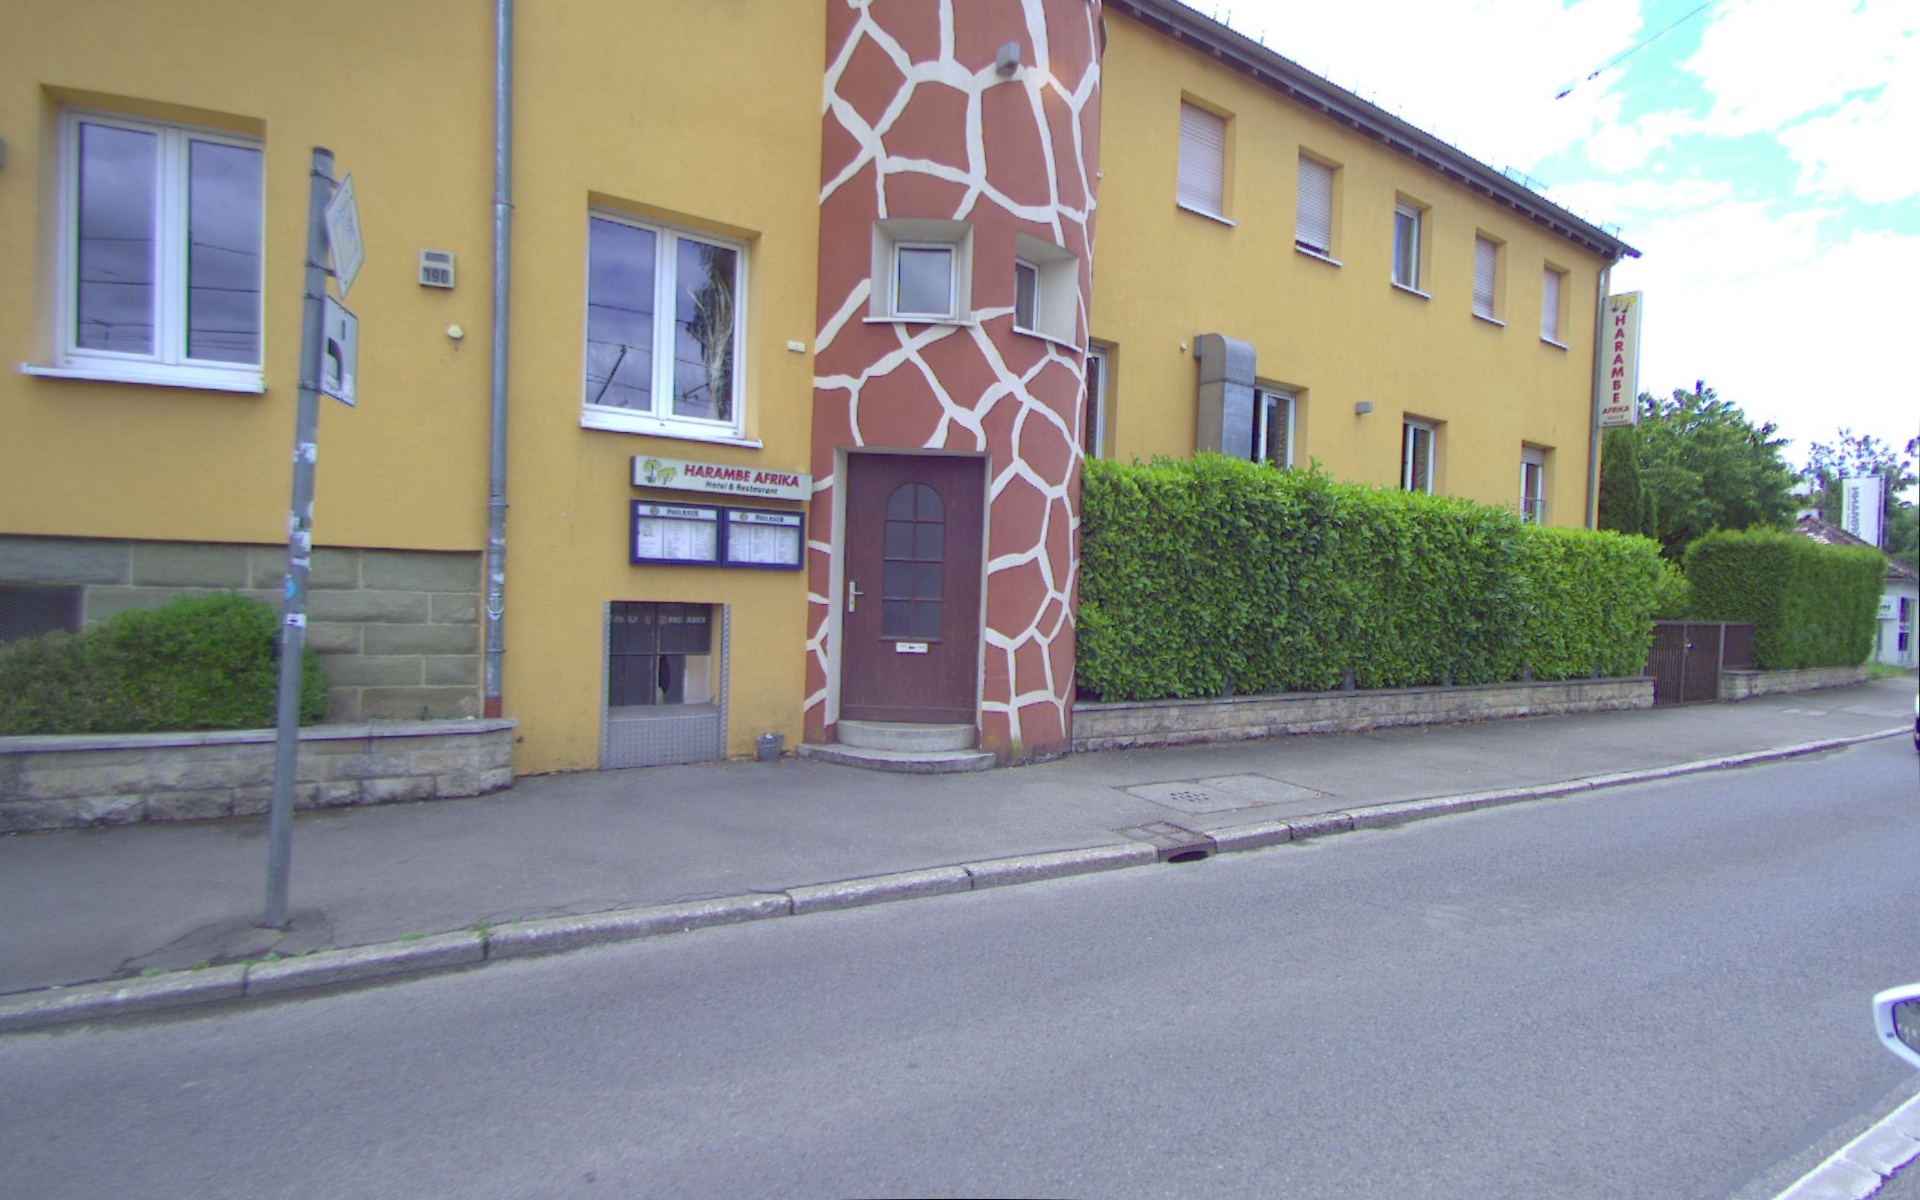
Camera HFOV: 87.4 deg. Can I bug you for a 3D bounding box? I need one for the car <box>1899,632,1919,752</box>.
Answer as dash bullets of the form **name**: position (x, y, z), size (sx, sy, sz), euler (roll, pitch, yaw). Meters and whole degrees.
- **car**: position (13.722, 1.148, 12.695), size (4.417, 1.438, 1.807), euler (2, -1, -34)
